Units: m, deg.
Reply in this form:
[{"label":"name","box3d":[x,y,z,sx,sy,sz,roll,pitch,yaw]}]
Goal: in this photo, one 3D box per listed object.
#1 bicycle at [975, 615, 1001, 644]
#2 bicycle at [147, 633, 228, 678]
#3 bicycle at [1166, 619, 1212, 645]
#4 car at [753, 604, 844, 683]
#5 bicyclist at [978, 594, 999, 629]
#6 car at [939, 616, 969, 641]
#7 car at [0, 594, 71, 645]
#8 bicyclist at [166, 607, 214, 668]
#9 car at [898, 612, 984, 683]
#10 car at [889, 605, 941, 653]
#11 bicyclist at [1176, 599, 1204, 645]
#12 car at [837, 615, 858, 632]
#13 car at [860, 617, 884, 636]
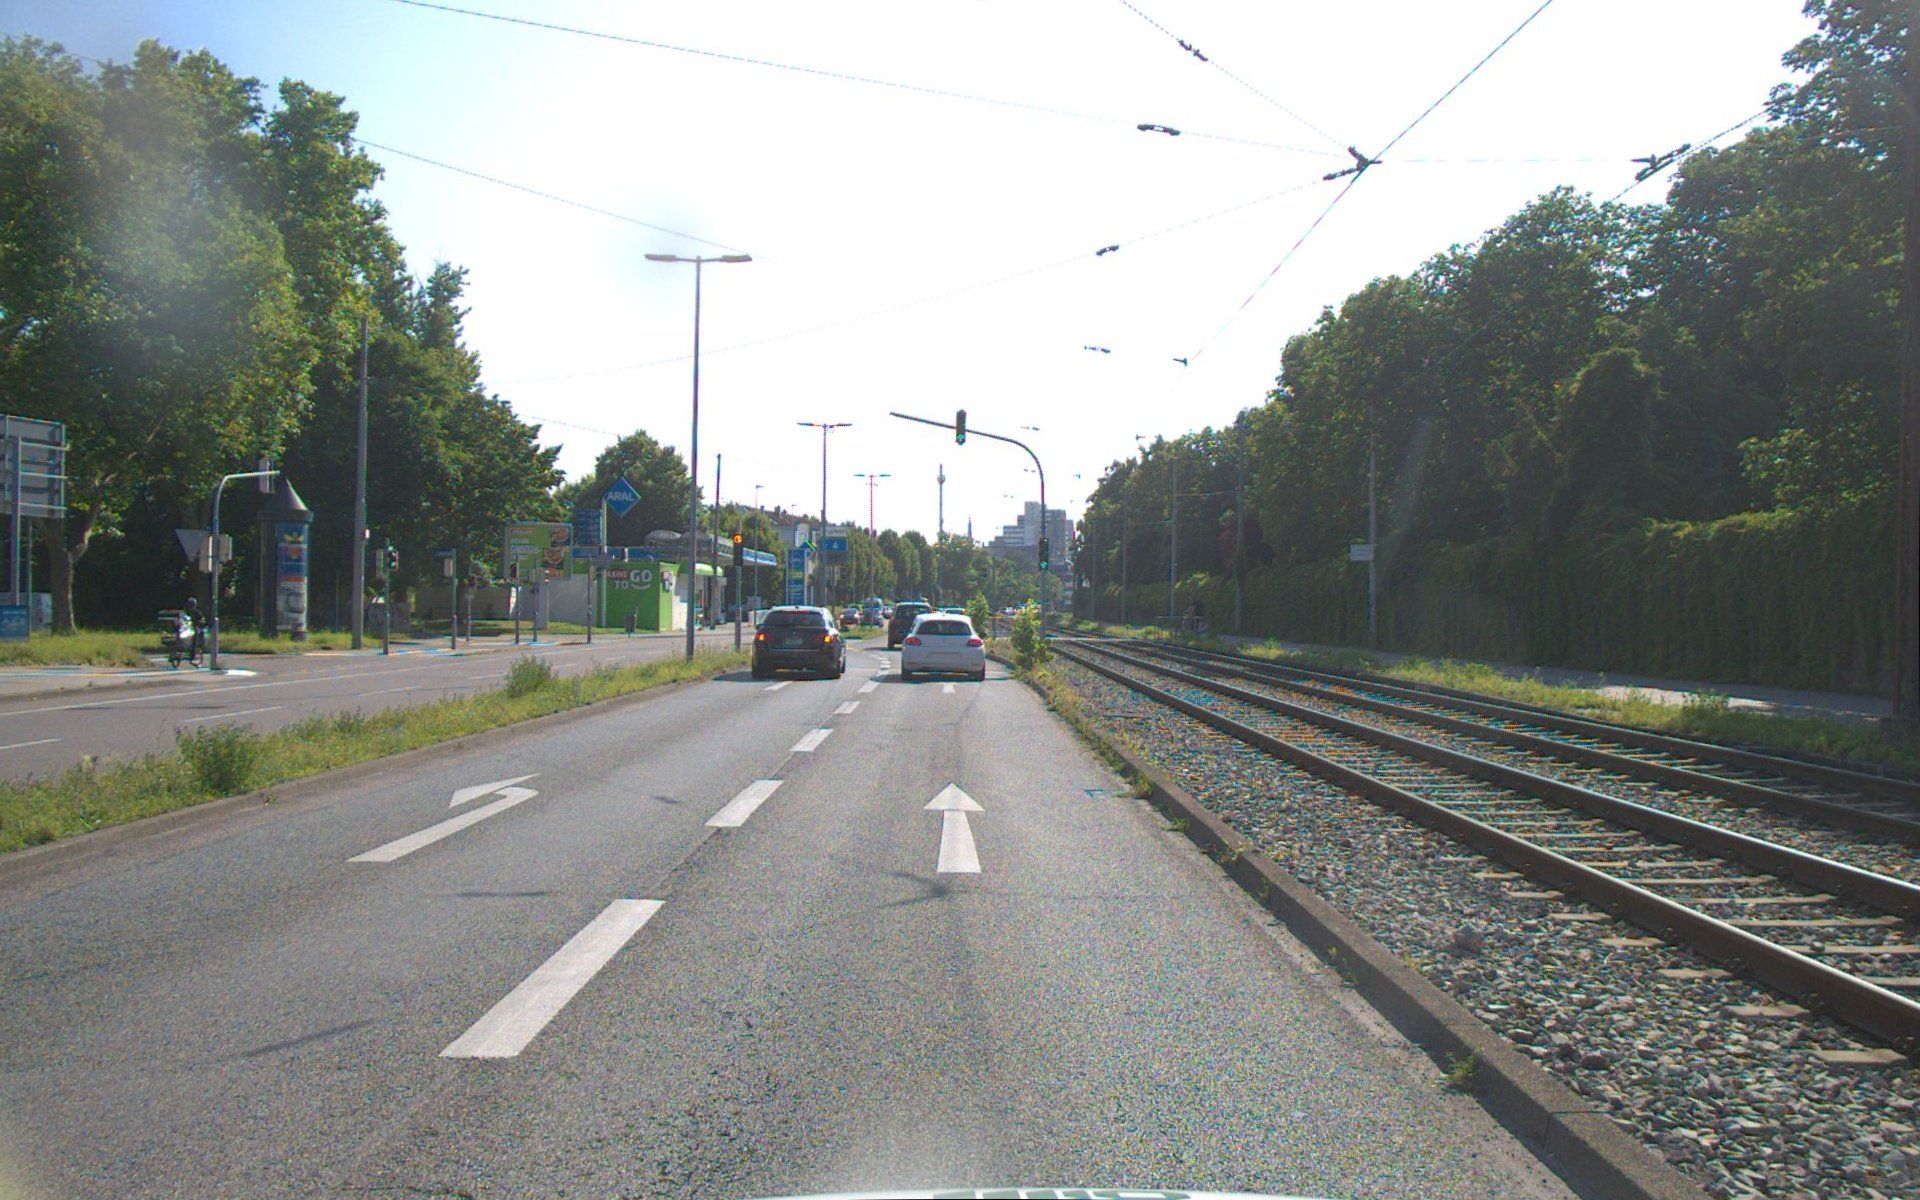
[{"label":"bicycle","box3d":[1.172,1.235,69.586,0.629,1.174,1.938,0,0,15]},{"label":"bicycle","box3d":[-19.108,1.357,40.984,0.648,1.068,2.581,0,0,3]},{"label":"bicycle","box3d":[10.335,1.434,74.546,1.882,1.134,0.947,0,-1,24]},{"label":"car","box3d":[-3.380,0.879,35.280,1.725,1.512,4.641,2,0,-4]},{"label":"bicyclist","box3d":[1.200,0.492,69.693,0.629,1.440,1.013,0,1,15]},{"label":"car","box3d":[-0.363,1.777,105.005,1.712,1.512,3.602,2,0,2]},{"label":"car","box3d":[-38.269,0.780,66.304,4.295,1.997,1.825,0,-1,6]},{"label":"bicyclist","box3d":[-19.115,0.921,41.075,0.648,1.478,1.051,0,-1,3]},{"label":"car","box3d":[-0.380,0.991,35.879,1.744,1.380,3.601,2,0,0]},{"label":"car","box3d":[-1.657,1.011,59.700,1.690,1.620,3.598,2,0,-4]},{"label":"bicyclist","box3d":[10.355,0.993,74.539,1.012,2.028,0.947,0,-1,24]},{"label":"car","box3d":[-9.468,1.976,139.422,1.541,1.442,3.334,0,0,1]},{"label":"car","box3d":[-6.618,1.984,124.681,1.619,1.420,4.133,0,0,0]}]
